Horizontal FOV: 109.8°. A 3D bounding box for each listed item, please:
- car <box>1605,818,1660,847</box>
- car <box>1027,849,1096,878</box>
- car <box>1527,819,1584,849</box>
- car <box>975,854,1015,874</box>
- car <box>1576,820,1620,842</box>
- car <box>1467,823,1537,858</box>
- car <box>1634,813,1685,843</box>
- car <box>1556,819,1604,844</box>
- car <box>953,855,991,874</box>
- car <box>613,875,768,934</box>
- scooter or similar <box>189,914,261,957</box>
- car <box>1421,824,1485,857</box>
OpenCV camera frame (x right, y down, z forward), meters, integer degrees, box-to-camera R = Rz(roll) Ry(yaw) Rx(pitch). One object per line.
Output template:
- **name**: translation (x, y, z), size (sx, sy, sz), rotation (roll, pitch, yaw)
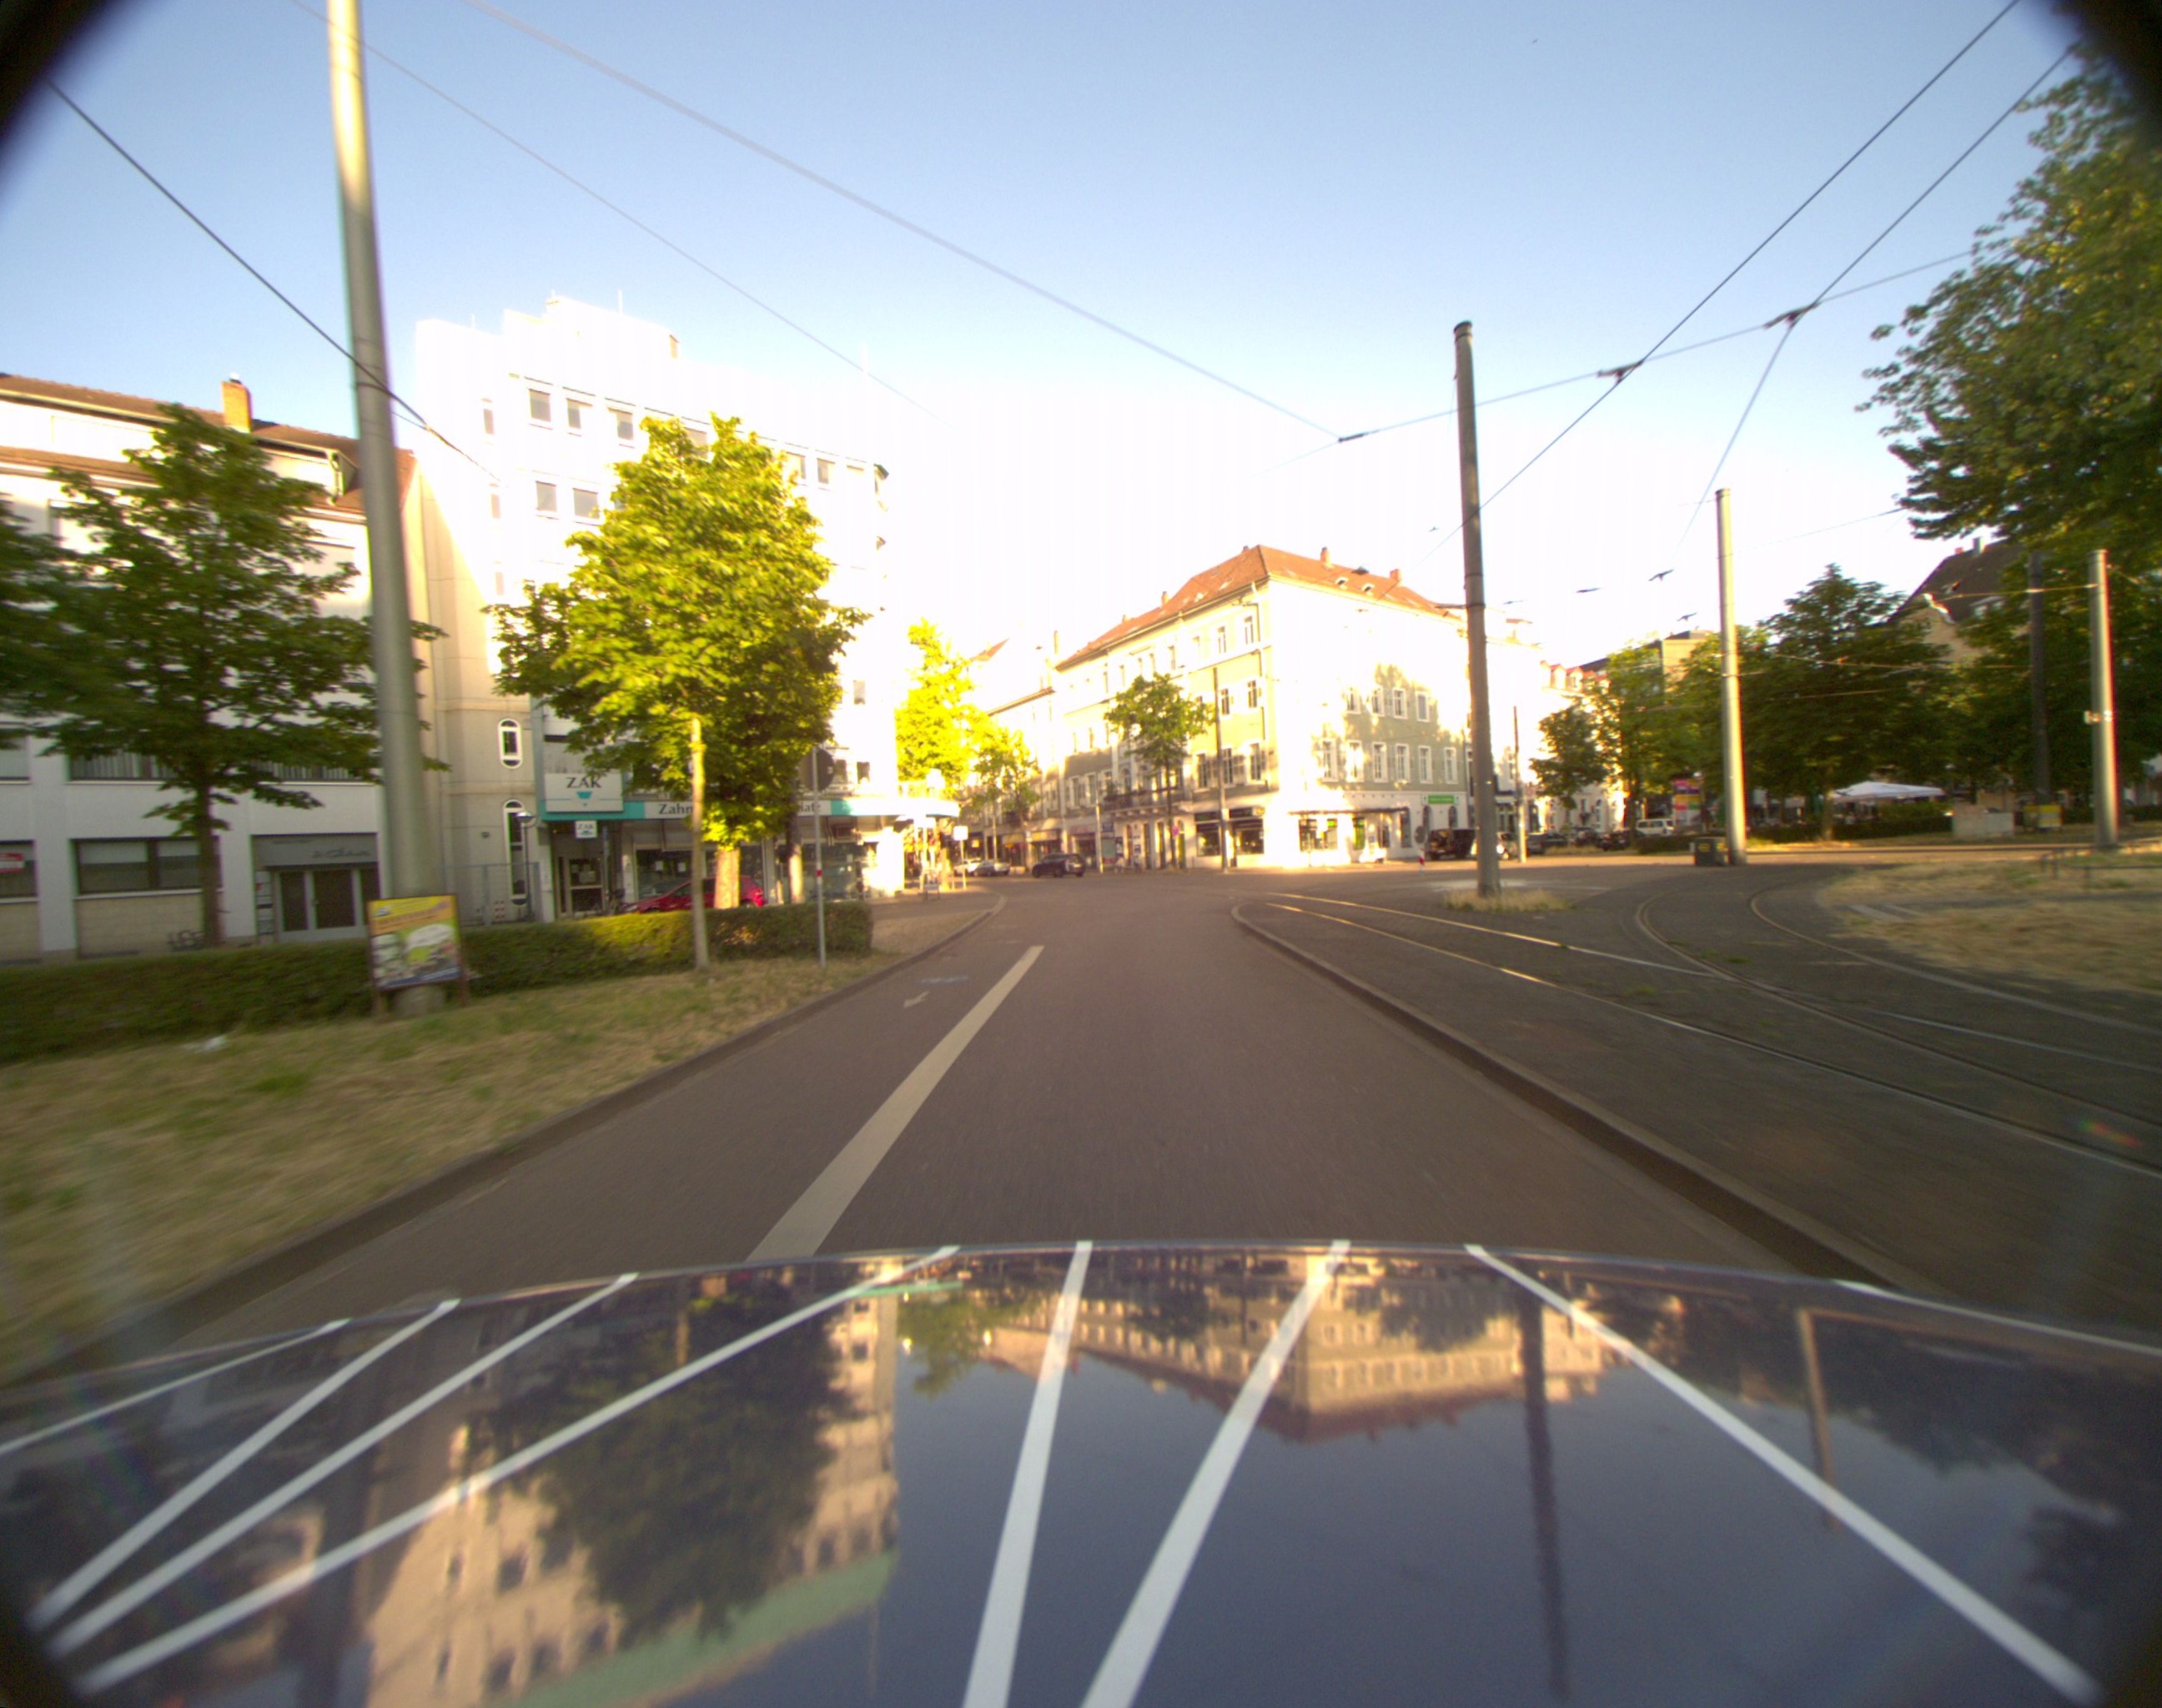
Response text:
- **car**: translation (36.738, -1.449, 50.549), size (4.007, 1.696, 1.855), rotation (-3, 0, -38)
- **car**: translation (-1.349, 0.657, 50.782), size (2.004, 1.673, 4.732), rotation (-3, 0, -40)
- **car**: translation (32.982, -1.416, 52.762), size (4.007, 1.892, 1.995), rotation (-3, 0, -38)
- **car**: translation (-7.515, 0.875, 65.977), size (1.727, 1.543, 3.958), rotation (-3, 0, -34)
- **car**: translation (43.375, -1.921, 63.776), size (4.007, 1.633, 1.855), rotation (-3, 0, -38)
- **car**: translation (23.060, -0.728, 41.594), size (4.007, 1.696, 1.855), rotation (-3, 0, -38)
- **car**: translation (41.185, -1.868, 54.111), size (4.007, 1.987, 1.855), rotation (-3, 0, -38)
- **car**: translation (38.358, -1.736, 58.371), size (4.007, 1.696, 1.855), rotation (-3, 0, -38)
- **car**: translation (-10.132, 1.008, 70.481), size (1.806, 1.543, 3.958), rotation (-3, 0, -34)
- **car**: translation (-12.222, 1.525, 23.872), size (4.006, 1.441, 1.844), rotation (-4, 0, -36)
- **scooter or similar**: translation (-23.023, 2.185, 20.450), size (1.182, 1.026, 0.488), rotation (-3, 0, -15)
- **car**: translation (23.609, -0.873, 48.178), size (4.007, 1.892, 1.995), rotation (-3, 0, -38)
